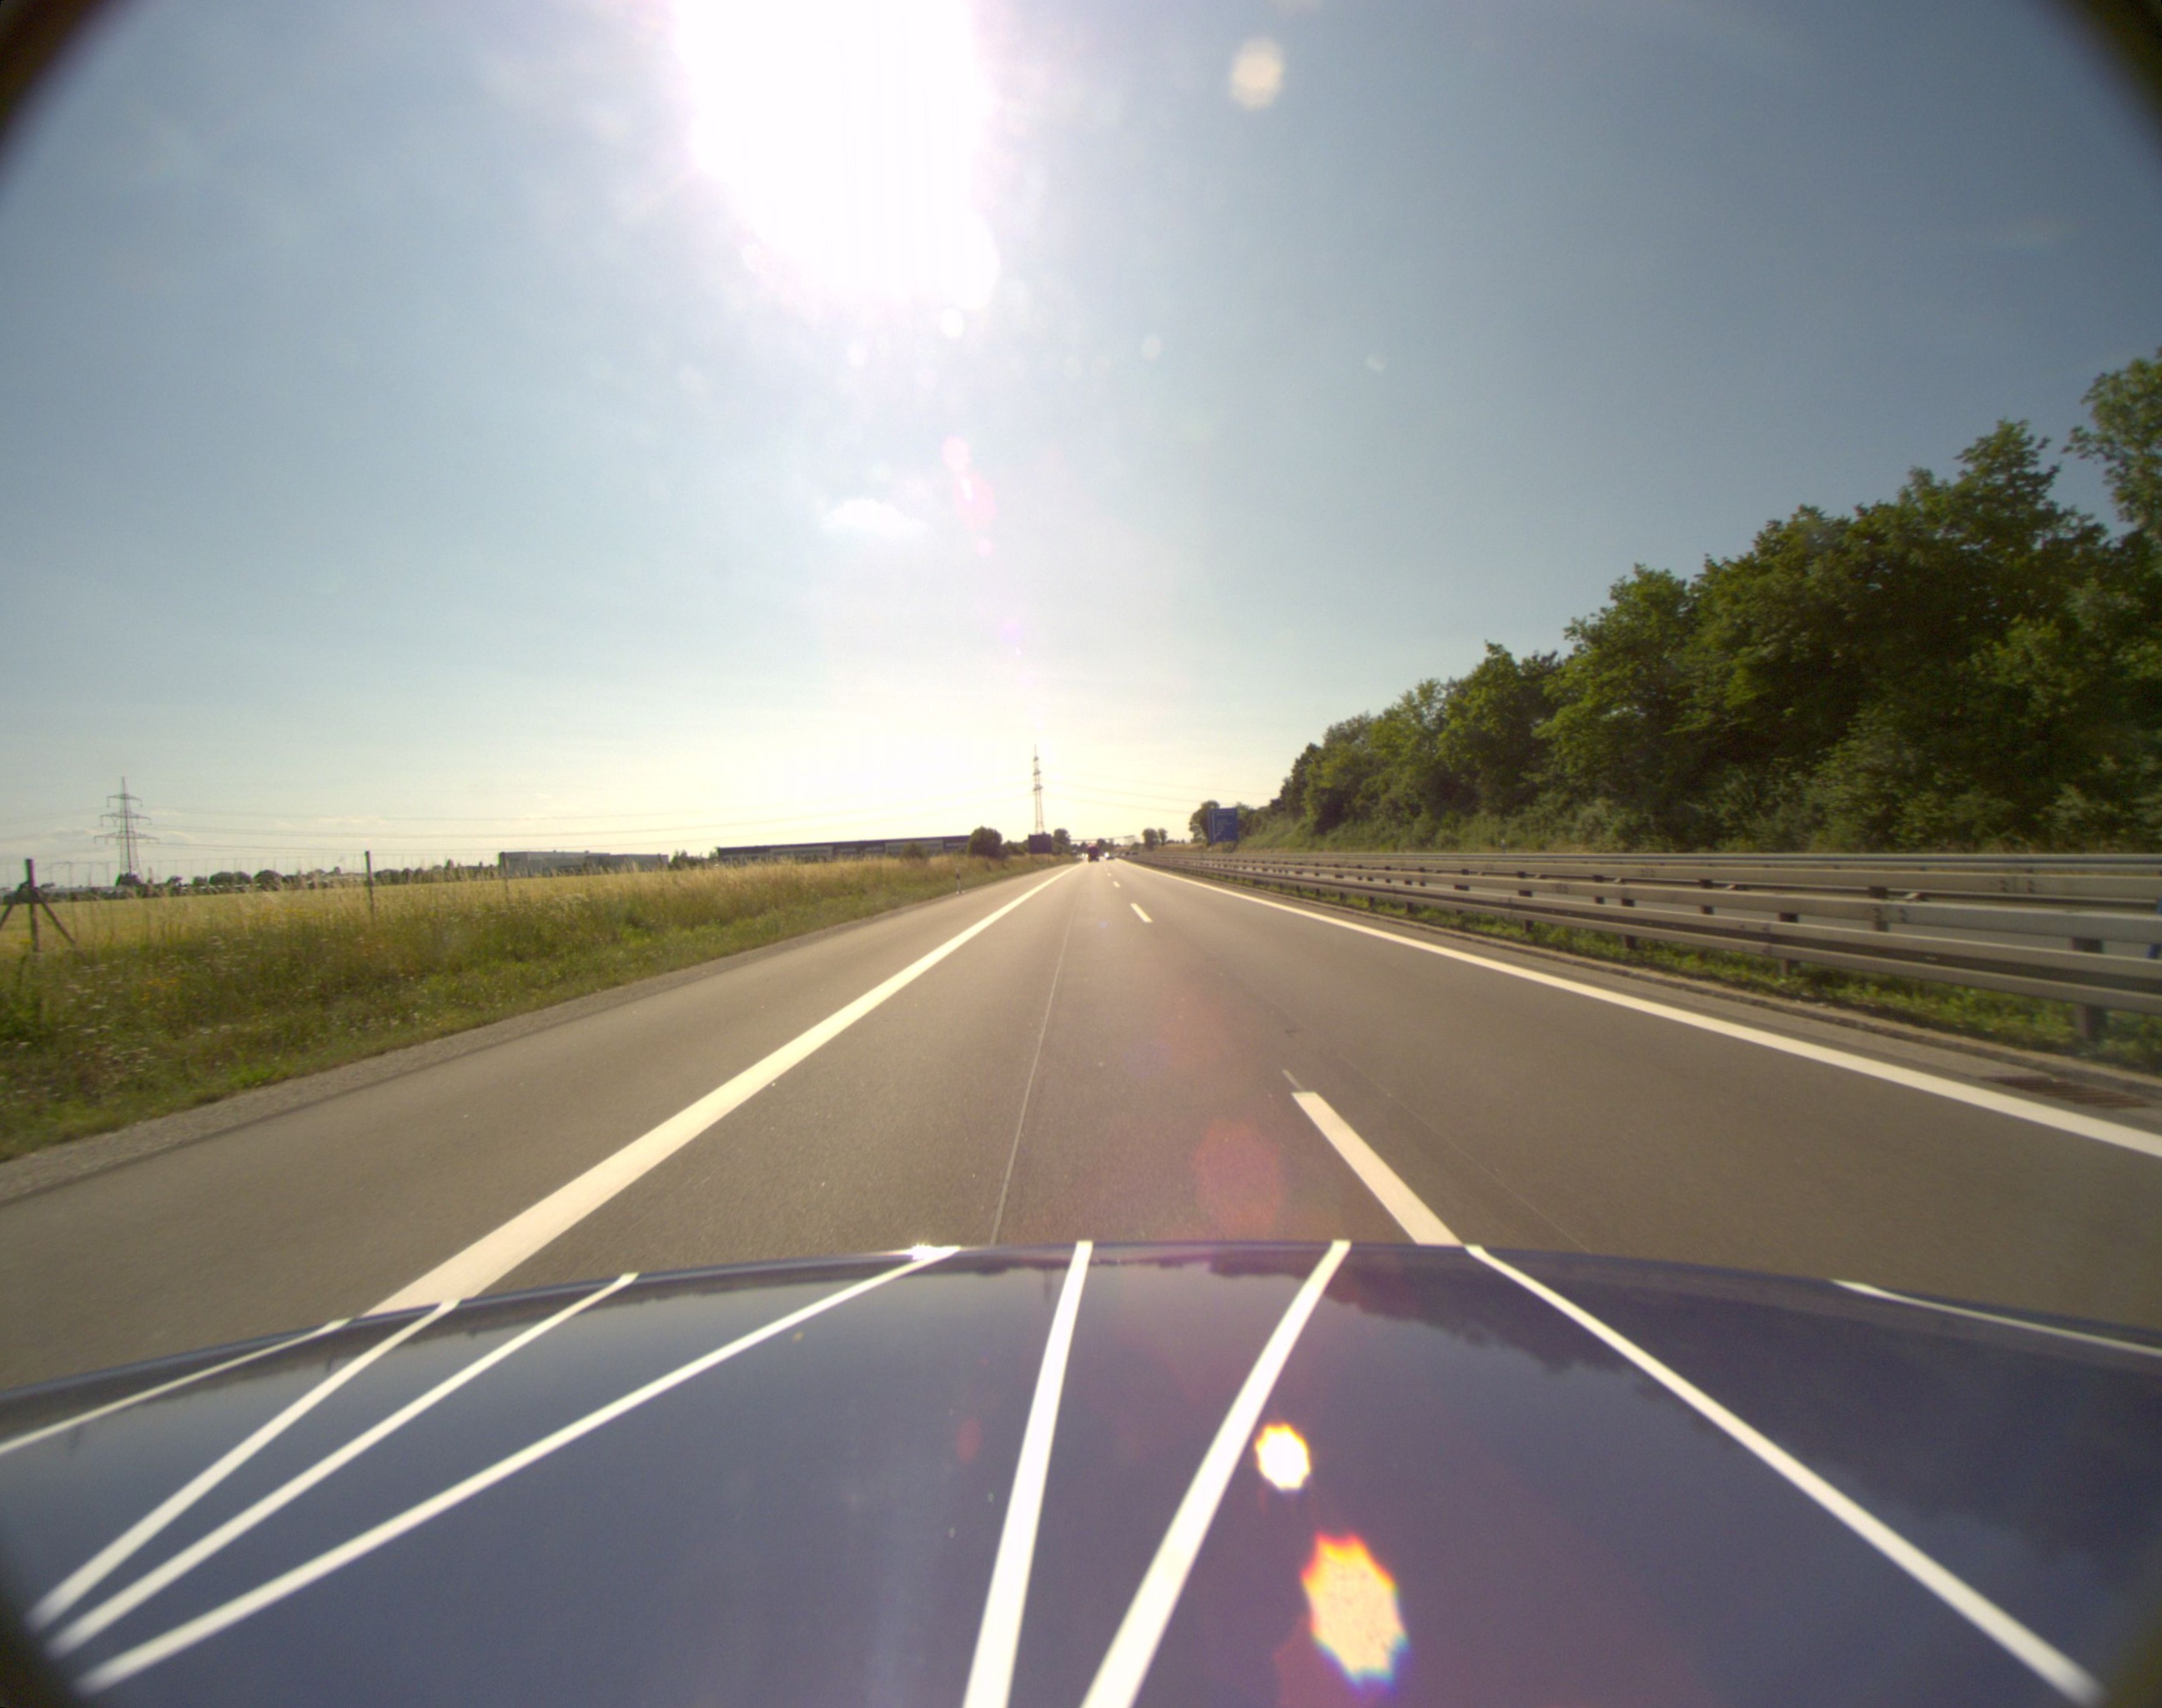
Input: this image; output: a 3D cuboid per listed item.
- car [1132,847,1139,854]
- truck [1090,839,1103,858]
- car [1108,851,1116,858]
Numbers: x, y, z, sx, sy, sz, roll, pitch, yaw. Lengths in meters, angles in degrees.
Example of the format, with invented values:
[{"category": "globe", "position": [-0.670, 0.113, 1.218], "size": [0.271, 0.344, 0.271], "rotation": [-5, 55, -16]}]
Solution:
[{"category": "car", "position": [17.457, -1.067, 243.728], "size": [1.998, 1.978, 5.692], "rotation": [-3, 0, 1]}, {"category": "truck", "position": [3.351, -1.154, 167.956], "size": [2.570, 3.939, 8.643], "rotation": [-4, 0, 1]}, {"category": "car", "position": [7.313, 0.088, 179.439], "size": [1.860, 1.361, 4.000], "rotation": [-2, 1, 2]}]
